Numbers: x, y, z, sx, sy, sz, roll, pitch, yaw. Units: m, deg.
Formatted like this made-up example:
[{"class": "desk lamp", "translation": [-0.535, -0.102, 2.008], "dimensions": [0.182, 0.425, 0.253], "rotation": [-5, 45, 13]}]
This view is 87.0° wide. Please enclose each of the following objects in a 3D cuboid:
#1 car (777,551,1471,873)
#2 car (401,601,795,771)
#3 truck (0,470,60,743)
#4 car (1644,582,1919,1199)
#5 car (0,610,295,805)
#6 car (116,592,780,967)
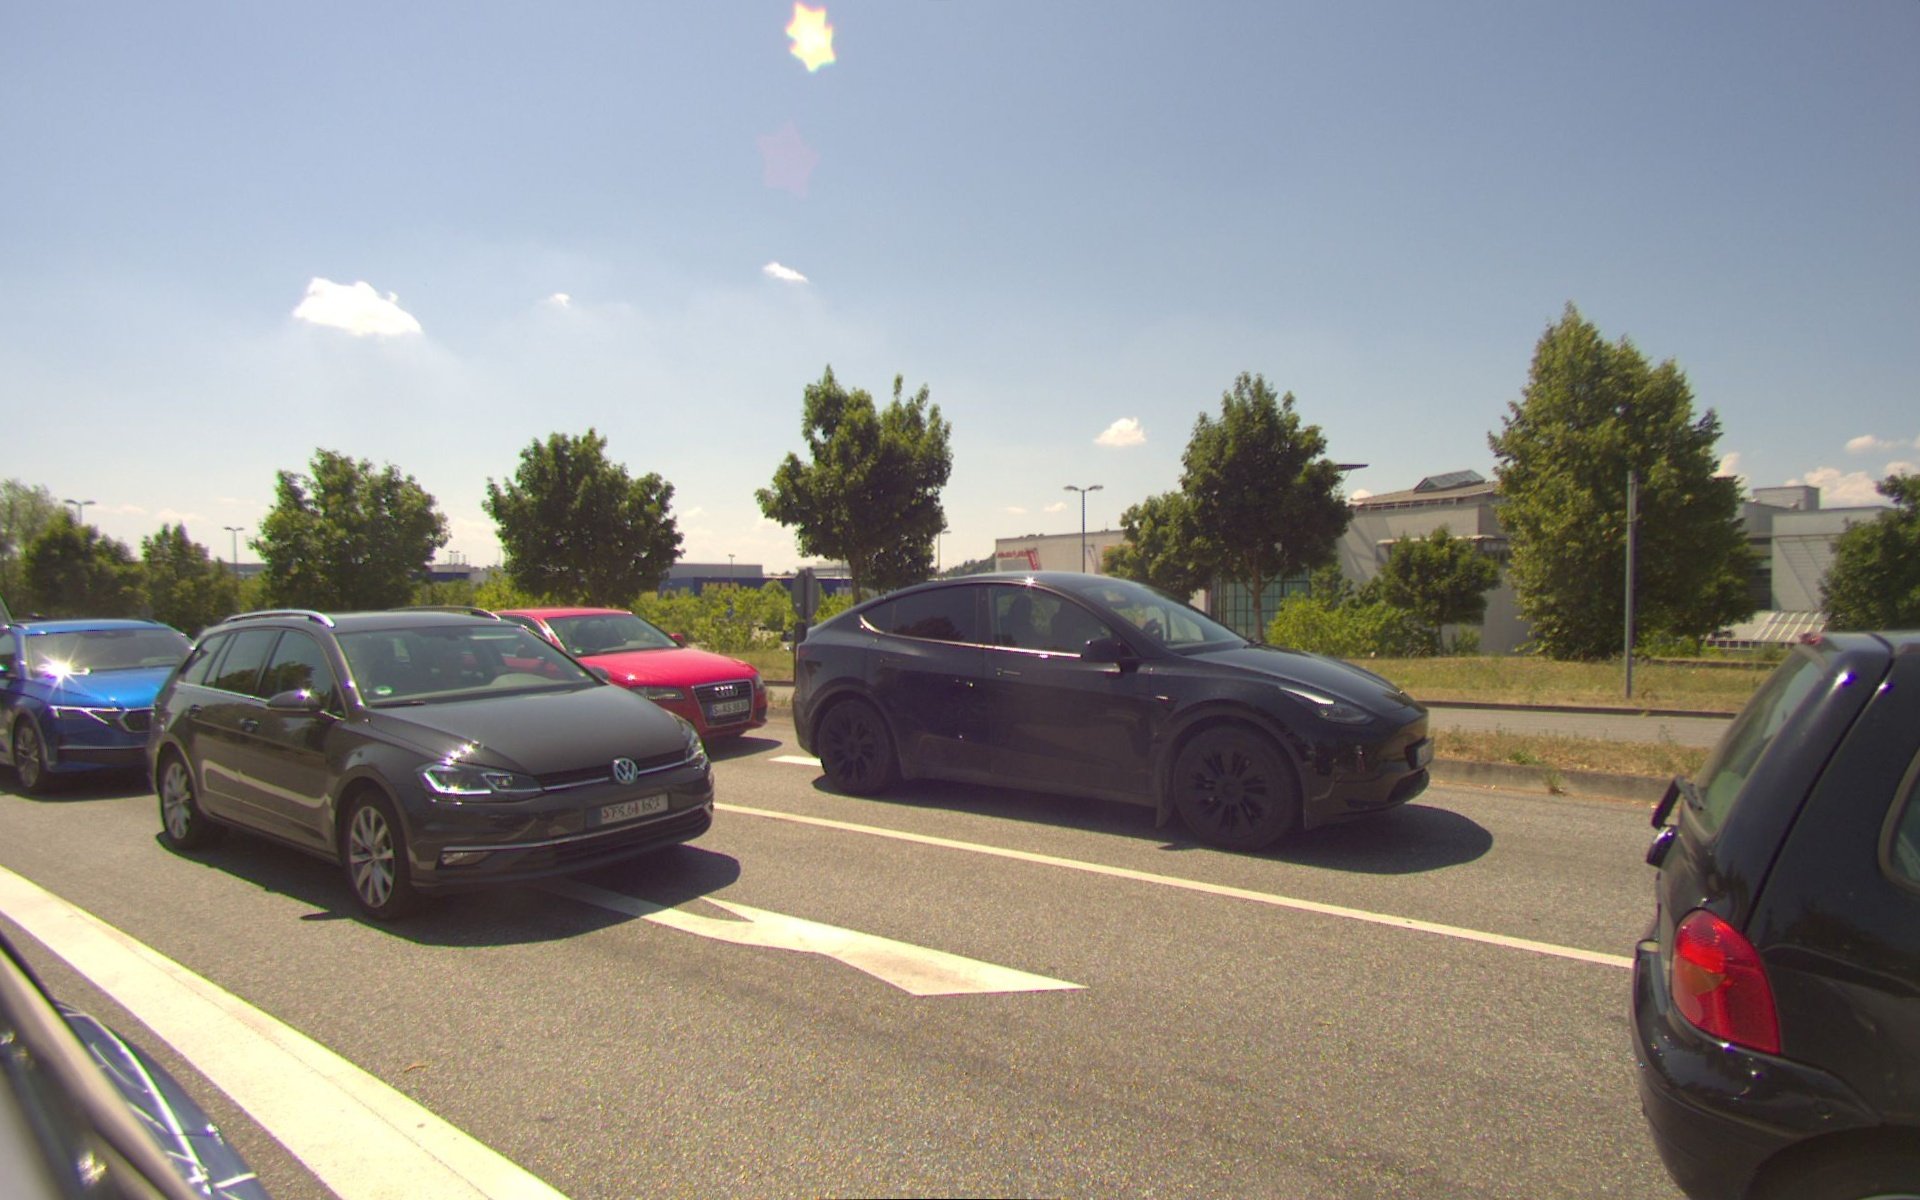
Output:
[{"class": "car", "translation": [0.969, 0.572, 7.152], "dimensions": [4.496, 1.613, 1.859], "rotation": [-1, 0, 36]}, {"class": "car", "translation": [-3.910, 0.752, 10.588], "dimensions": [4.440, 1.398, 1.646], "rotation": [-1, 1, 36]}, {"class": "truck", "translation": [-15.252, 0.216, 13.815], "dimensions": [7.176, 3.373, 2.390], "rotation": [-3, -1, 31]}, {"class": "car", "translation": [2.997, 0.673, 1.431], "dimensions": [3.295, 1.418, 1.604], "rotation": [0, 0, 37]}, {"class": "car", "translation": [-8.462, 0.907, 9.743], "dimensions": [4.474, 1.473, 1.695], "rotation": [-2, 0, 32]}, {"class": "car", "translation": [-3.276, 0.746, 6.086], "dimensions": [4.420, 1.493, 1.762], "rotation": [-1, 0, 36]}]
